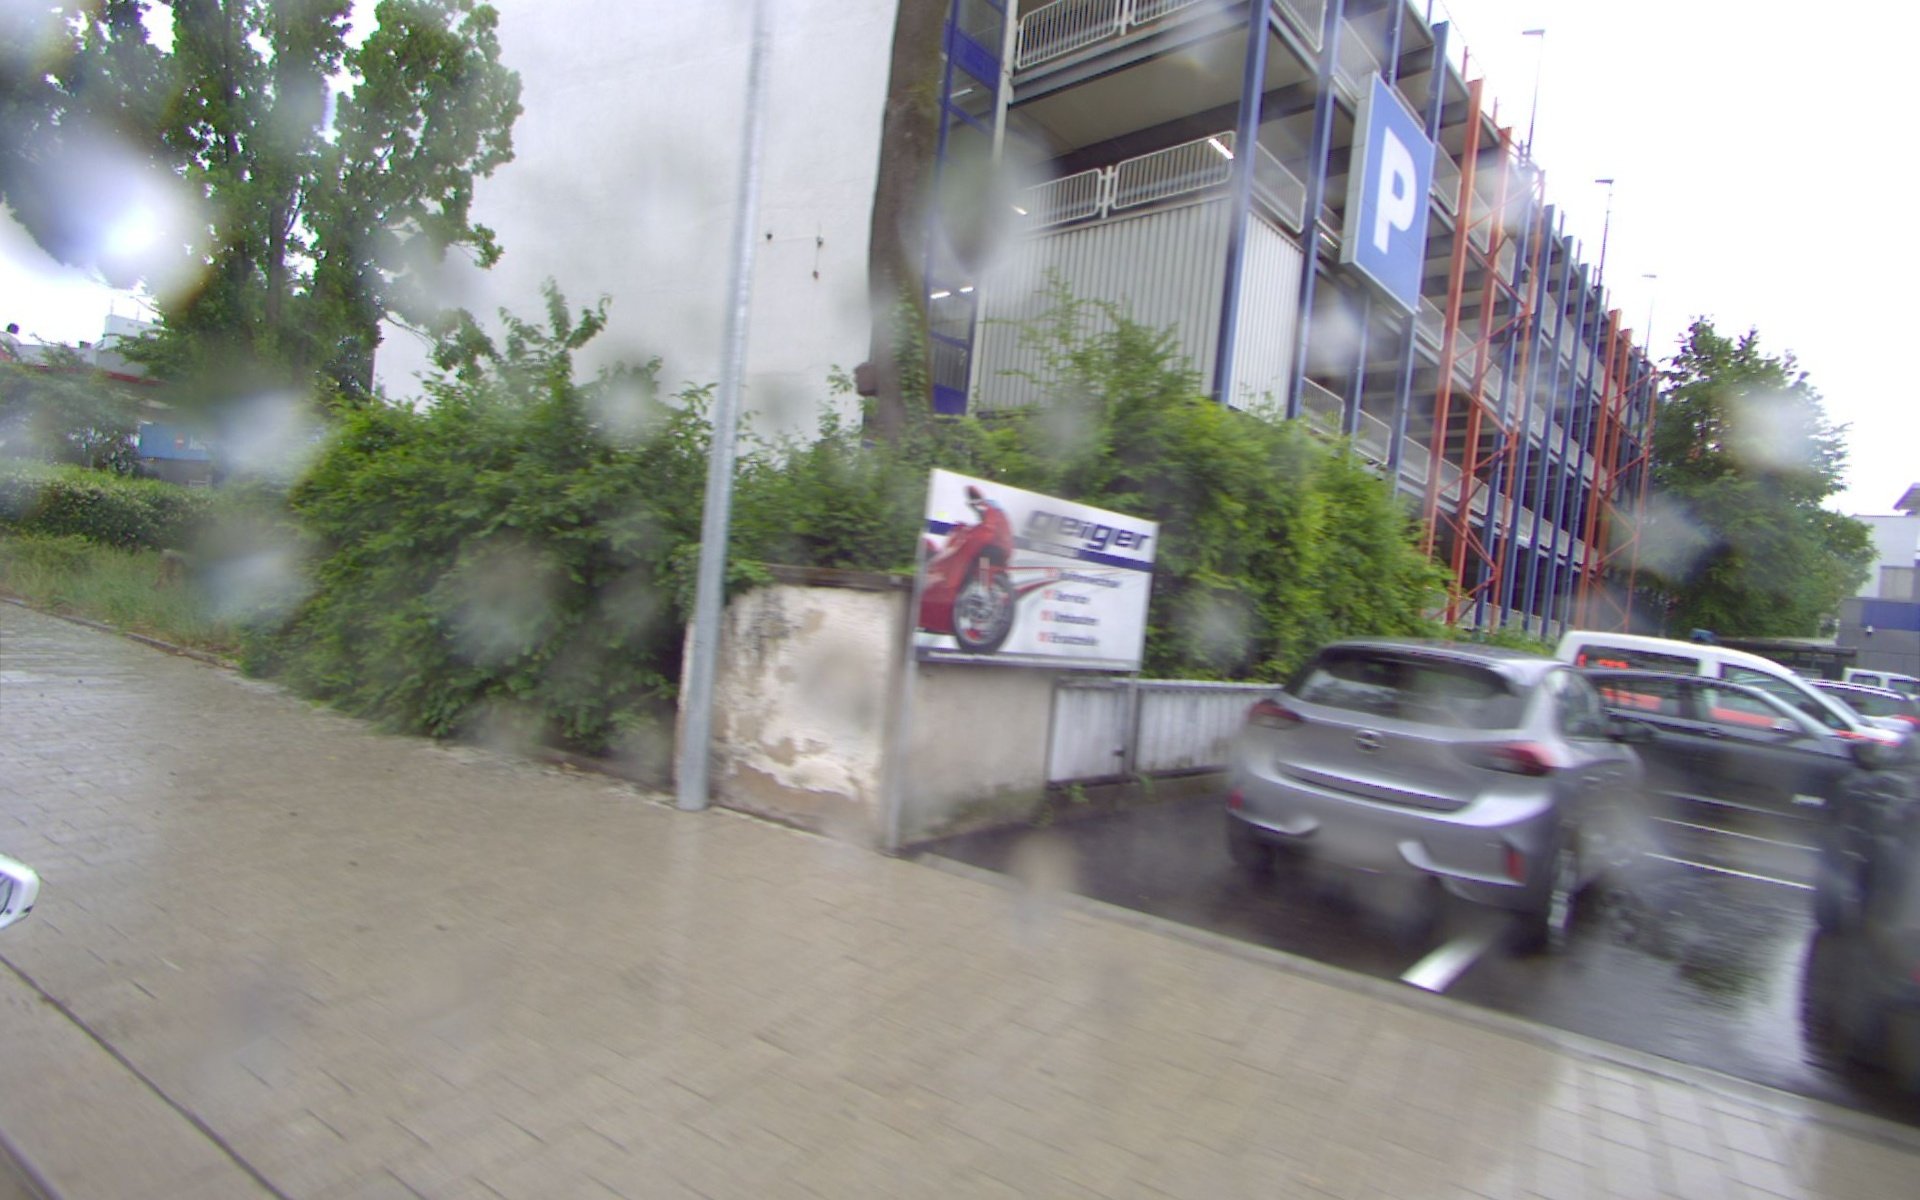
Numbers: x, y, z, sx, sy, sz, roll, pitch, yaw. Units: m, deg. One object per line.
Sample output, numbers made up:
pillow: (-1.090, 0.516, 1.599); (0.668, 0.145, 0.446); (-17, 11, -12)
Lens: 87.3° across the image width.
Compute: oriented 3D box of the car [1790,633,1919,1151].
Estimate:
car: (5.068, 1.130, 4.411); (1.972, 1.671, 4.198); (7, 2, 41)

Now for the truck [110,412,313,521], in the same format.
truck: (-36.955, -6.486, 50.133); (2.629, 3.480, 7.763); (6, -4, 16)

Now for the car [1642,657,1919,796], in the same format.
car: (14.455, 2.111, 17.482); (3.946, 1.701, 1.725); (7, 2, 44)

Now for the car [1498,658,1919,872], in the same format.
car: (8.089, 1.610, 10.303); (4.146, 1.460, 1.930); (7, 0, 40)

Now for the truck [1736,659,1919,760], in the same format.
truck: (25.292, 3.122, 28.329); (5.235, 2.293, 1.993); (4, -5, 41)

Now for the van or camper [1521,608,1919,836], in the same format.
van or camper: (9.644, 1.395, 12.297); (4.401, 2.062, 1.834); (7, 0, 43)

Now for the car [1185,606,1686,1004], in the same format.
car: (3.105, 0.975, 6.156); (1.780, 1.514, 3.615); (7, 1, 40)
